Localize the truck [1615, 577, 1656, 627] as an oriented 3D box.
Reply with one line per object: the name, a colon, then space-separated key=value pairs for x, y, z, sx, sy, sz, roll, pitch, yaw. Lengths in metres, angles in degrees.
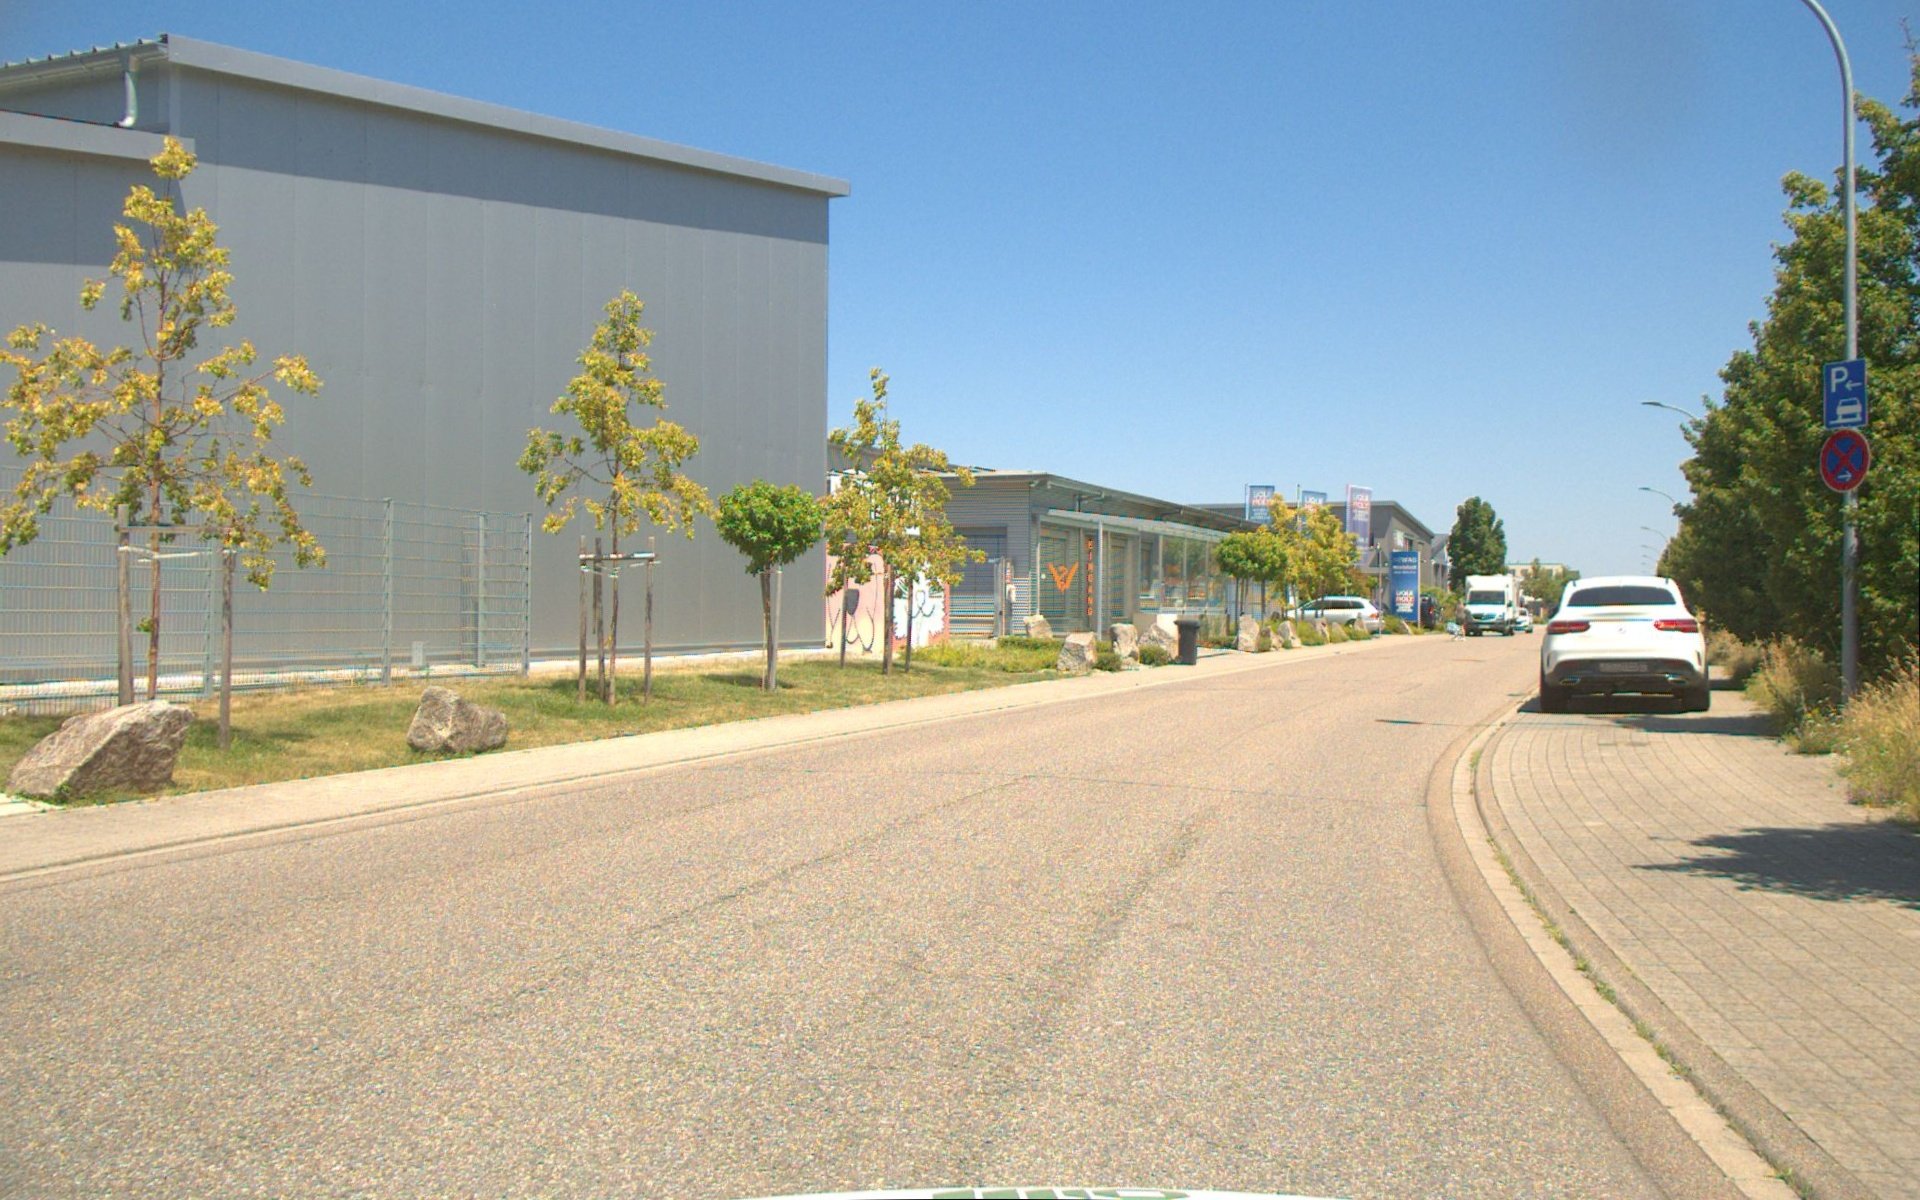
truck: x=31.355 y=0.127 z=76.755 sx=1.644 sy=2.220 sz=4.389 roll=-2 pitch=-1 yaw=22

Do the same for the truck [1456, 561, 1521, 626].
truck: x=25.295 y=-0.244 z=79.031 sx=2.313 sy=2.910 sz=6.413 roll=-2 pitch=-1 yaw=23

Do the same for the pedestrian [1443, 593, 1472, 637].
pedestrian: x=18.421 y=0.542 z=61.212 sx=0.881 sy=1.601 sz=0.785 roll=2 pitch=1 yaw=24

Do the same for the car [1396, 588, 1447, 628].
car: x=24.004 y=0.419 z=85.848 sx=1.953 sy=1.991 sz=5.217 roll=1 pitch=0 yaw=22

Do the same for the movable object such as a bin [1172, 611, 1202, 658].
movable object such as a bin: x=4.851 y=0.734 z=35.377 sx=0.558 sy=0.966 sz=0.512 roll=1 pitch=0 yaw=17

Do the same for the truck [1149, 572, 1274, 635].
truck: x=15.158 y=0.170 z=100.252 sx=2.560 sy=3.619 sz=7.955 roll=1 pitch=0 yaw=-38

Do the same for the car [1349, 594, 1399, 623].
car: x=22.020 y=0.460 z=87.813 sx=1.892 sy=1.441 sz=4.768 roll=2 pitch=0 yaw=22

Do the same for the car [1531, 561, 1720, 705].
car: x=9.050 y=0.421 z=22.524 sx=2.100 sy=1.728 sz=4.784 roll=-2 pitch=-1 yaw=22

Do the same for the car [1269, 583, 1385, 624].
car: x=14.358 y=0.113 z=64.694 sx=4.175 sy=1.544 sz=1.866 roll=1 pitch=0 yaw=22
